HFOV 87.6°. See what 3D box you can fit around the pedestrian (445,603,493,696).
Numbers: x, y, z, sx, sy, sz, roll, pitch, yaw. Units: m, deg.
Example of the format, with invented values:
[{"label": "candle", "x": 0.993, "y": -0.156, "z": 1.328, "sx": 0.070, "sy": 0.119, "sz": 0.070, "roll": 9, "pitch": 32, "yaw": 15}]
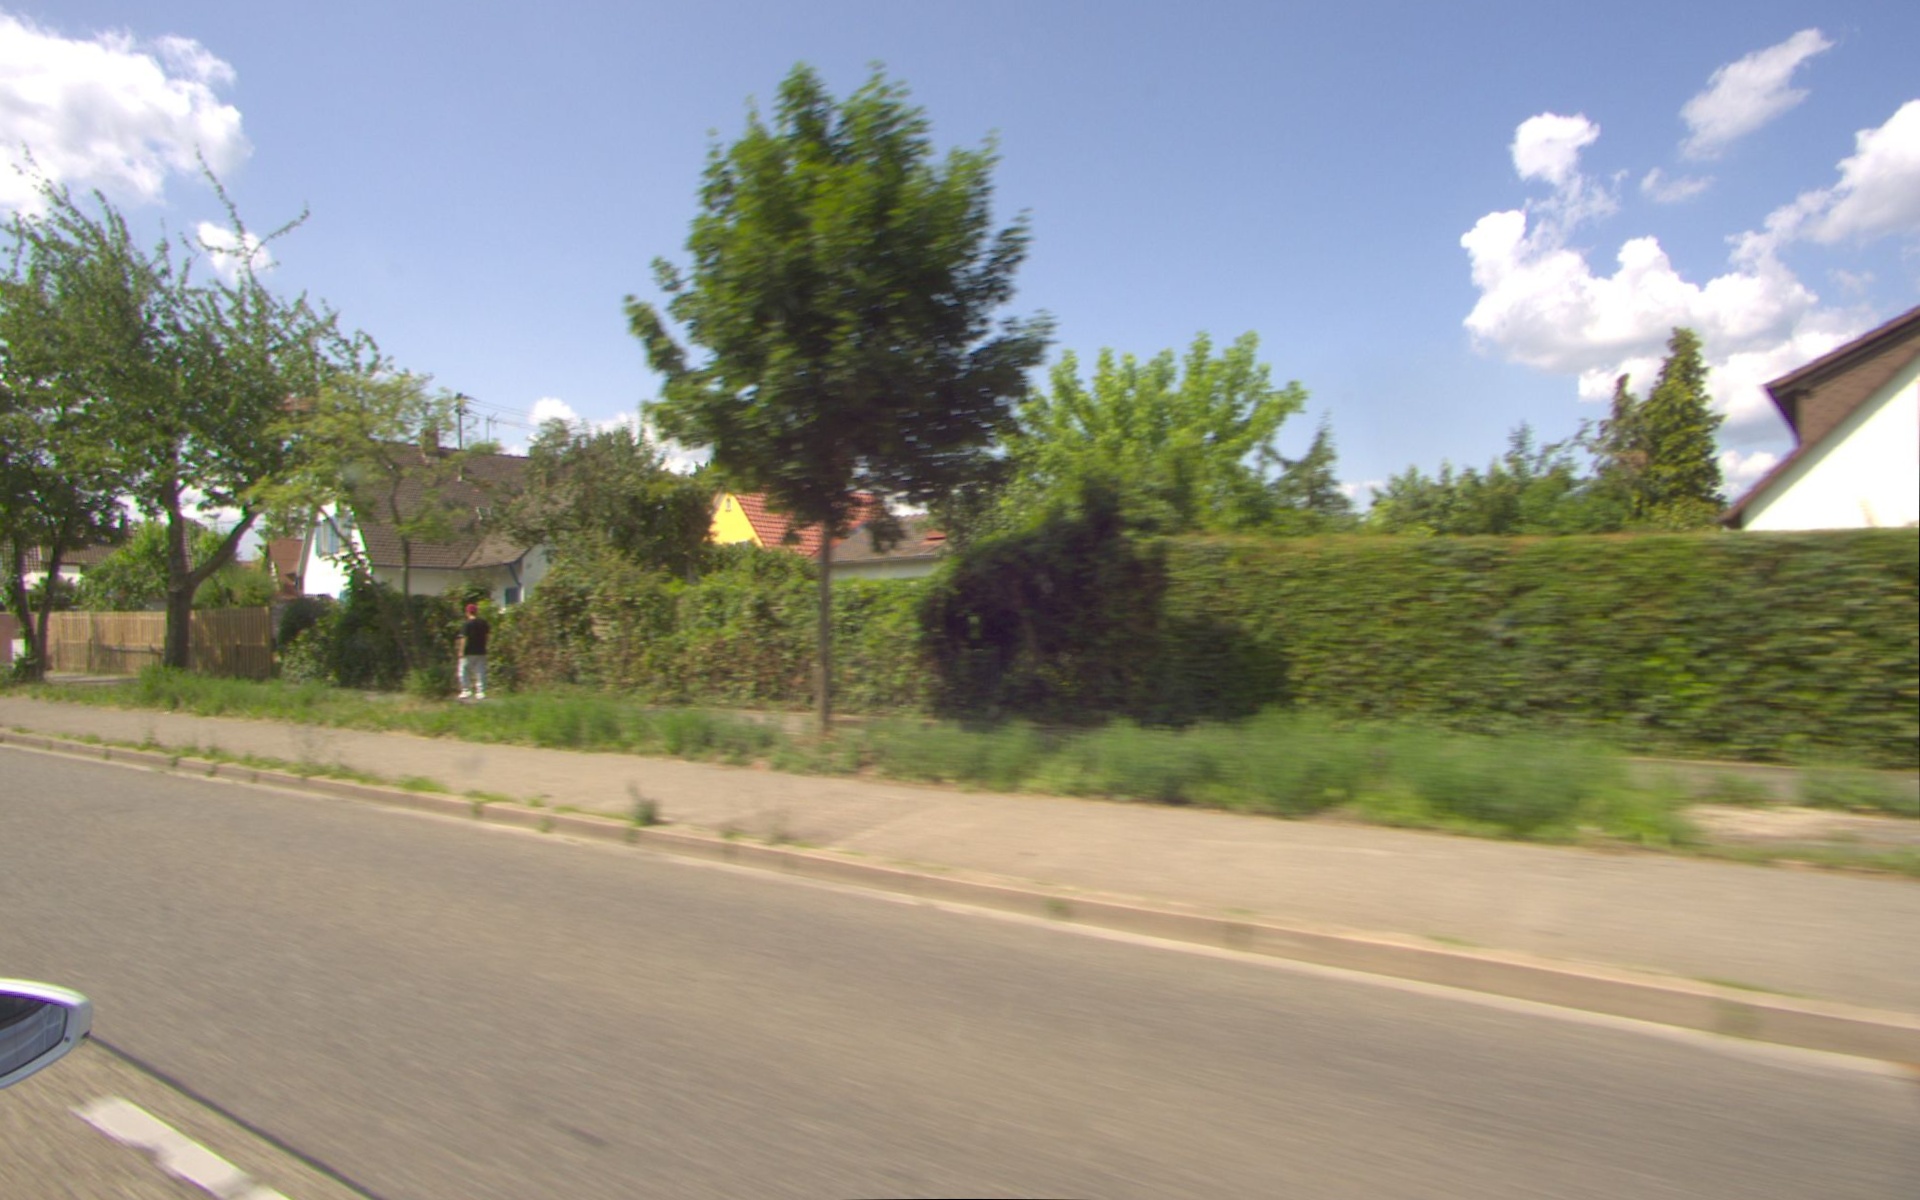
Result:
[{"label": "pedestrian", "x": -9.137, "y": 0.917, "z": 18.635, "sx": 0.625, "sy": 1.698, "sz": 0.559, "roll": 0, "pitch": -1, "yaw": 32}]
